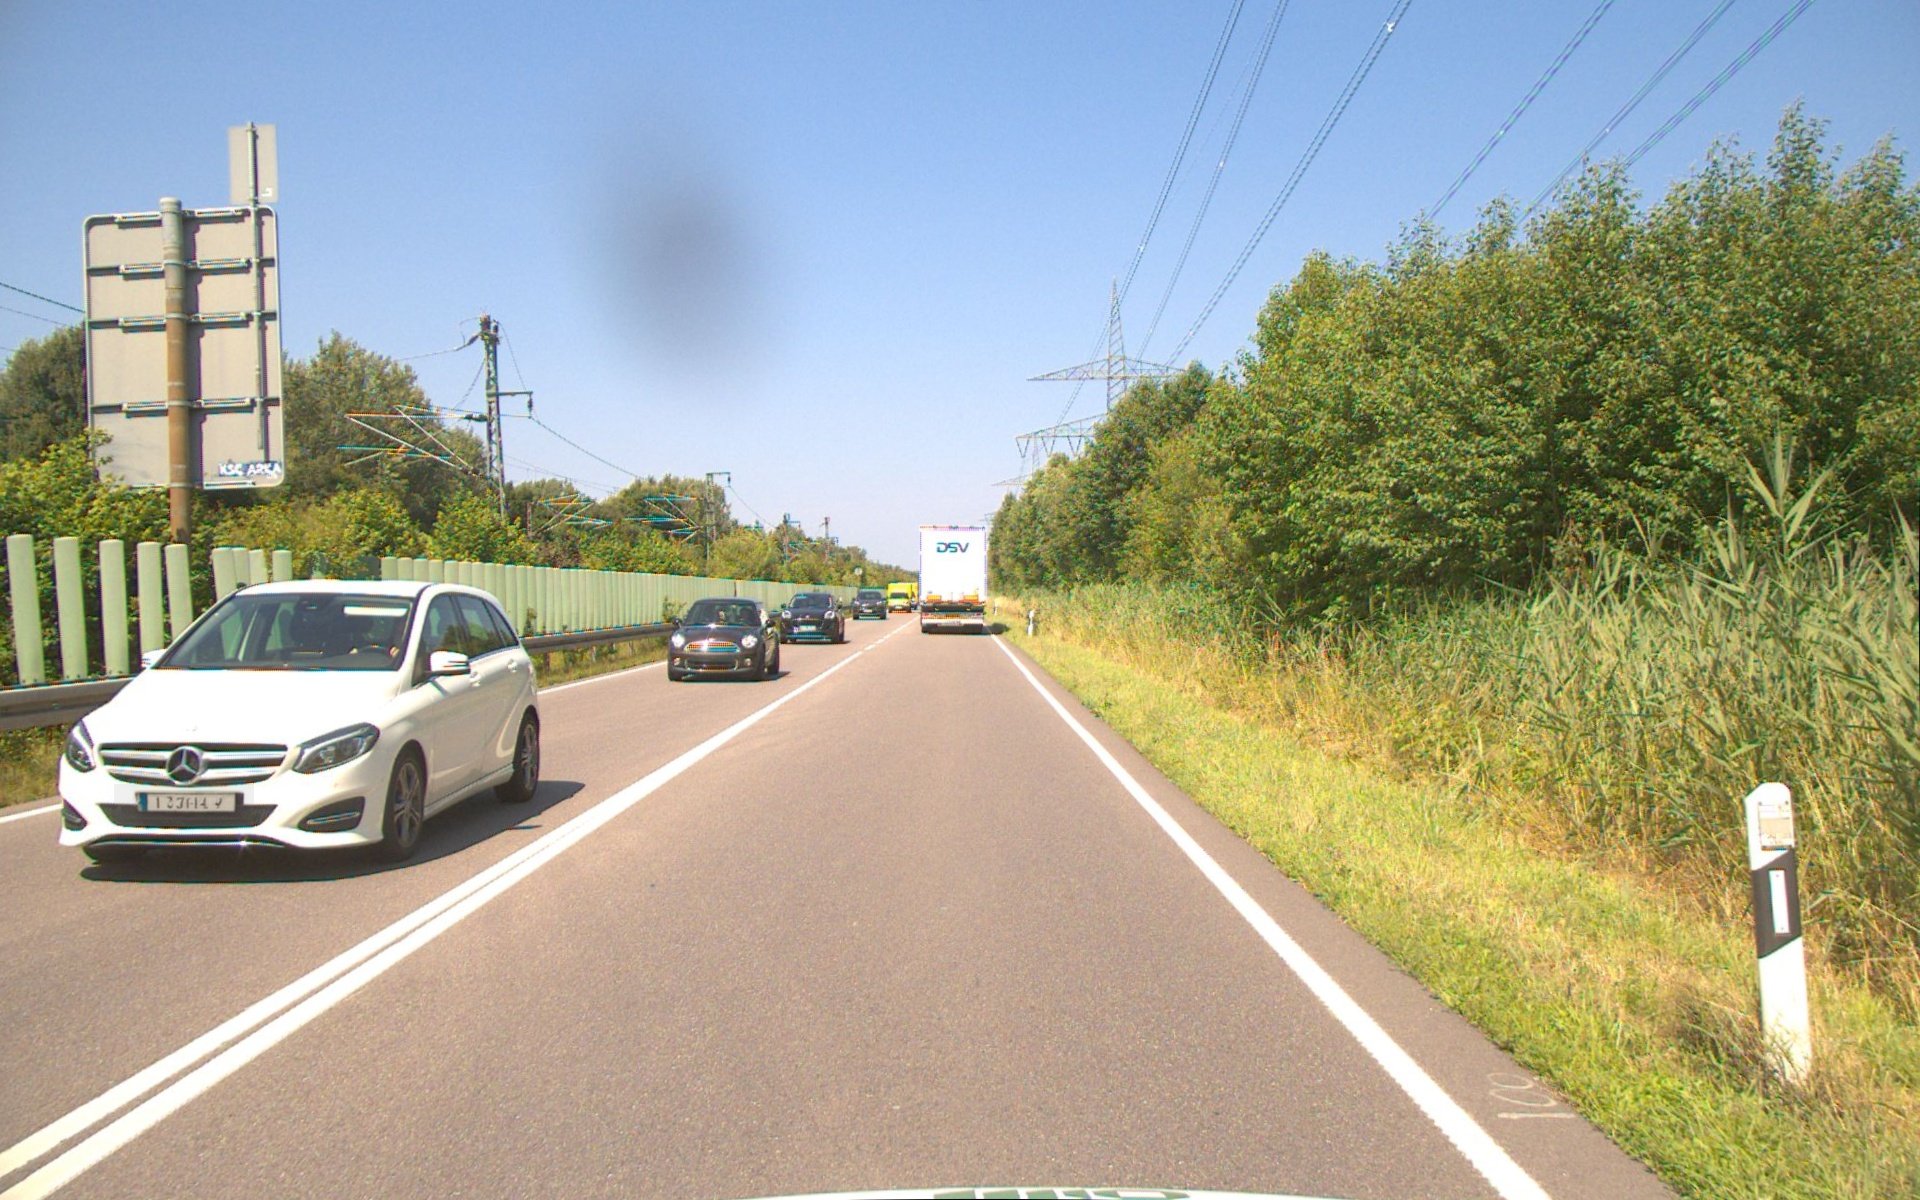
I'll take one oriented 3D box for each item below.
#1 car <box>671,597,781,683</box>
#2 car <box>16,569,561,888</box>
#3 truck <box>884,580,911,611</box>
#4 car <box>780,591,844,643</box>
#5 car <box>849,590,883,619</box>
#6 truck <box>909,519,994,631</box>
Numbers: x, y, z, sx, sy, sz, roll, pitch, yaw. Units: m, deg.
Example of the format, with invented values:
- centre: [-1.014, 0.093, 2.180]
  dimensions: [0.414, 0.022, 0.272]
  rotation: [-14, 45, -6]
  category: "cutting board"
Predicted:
- centre: [-4.177, 0.680, 29.973]
  dimensions: [1.475, 1.460, 3.742]
  rotation: [0, 0, 0]
  category: "car"
- centre: [-3.971, 0.654, 10.669]
  dimensions: [1.788, 1.633, 4.322]
  rotation: [0, 0, -1]
  category: "car"
- centre: [-4.948, -0.365, 131.560]
  dimensions: [1.952, 2.389, 6.012]
  rotation: [0, 0, 0]
  category: "truck"
- centre: [-4.514, 0.501, 50.909]
  dimensions: [1.639, 1.541, 4.288]
  rotation: [0, 0, -1]
  category: "car"
- centre: [-5.489, 0.252, 97.247]
  dimensions: [1.764, 1.615, 4.370]
  rotation: [0, 0, 0]
  category: "car"
- centre: [-0.379, -0.916, 66.991]
  dimensions: [3.127, 4.113, 12.004]
  rotation: [0, 0, -1]
  category: "truck"
